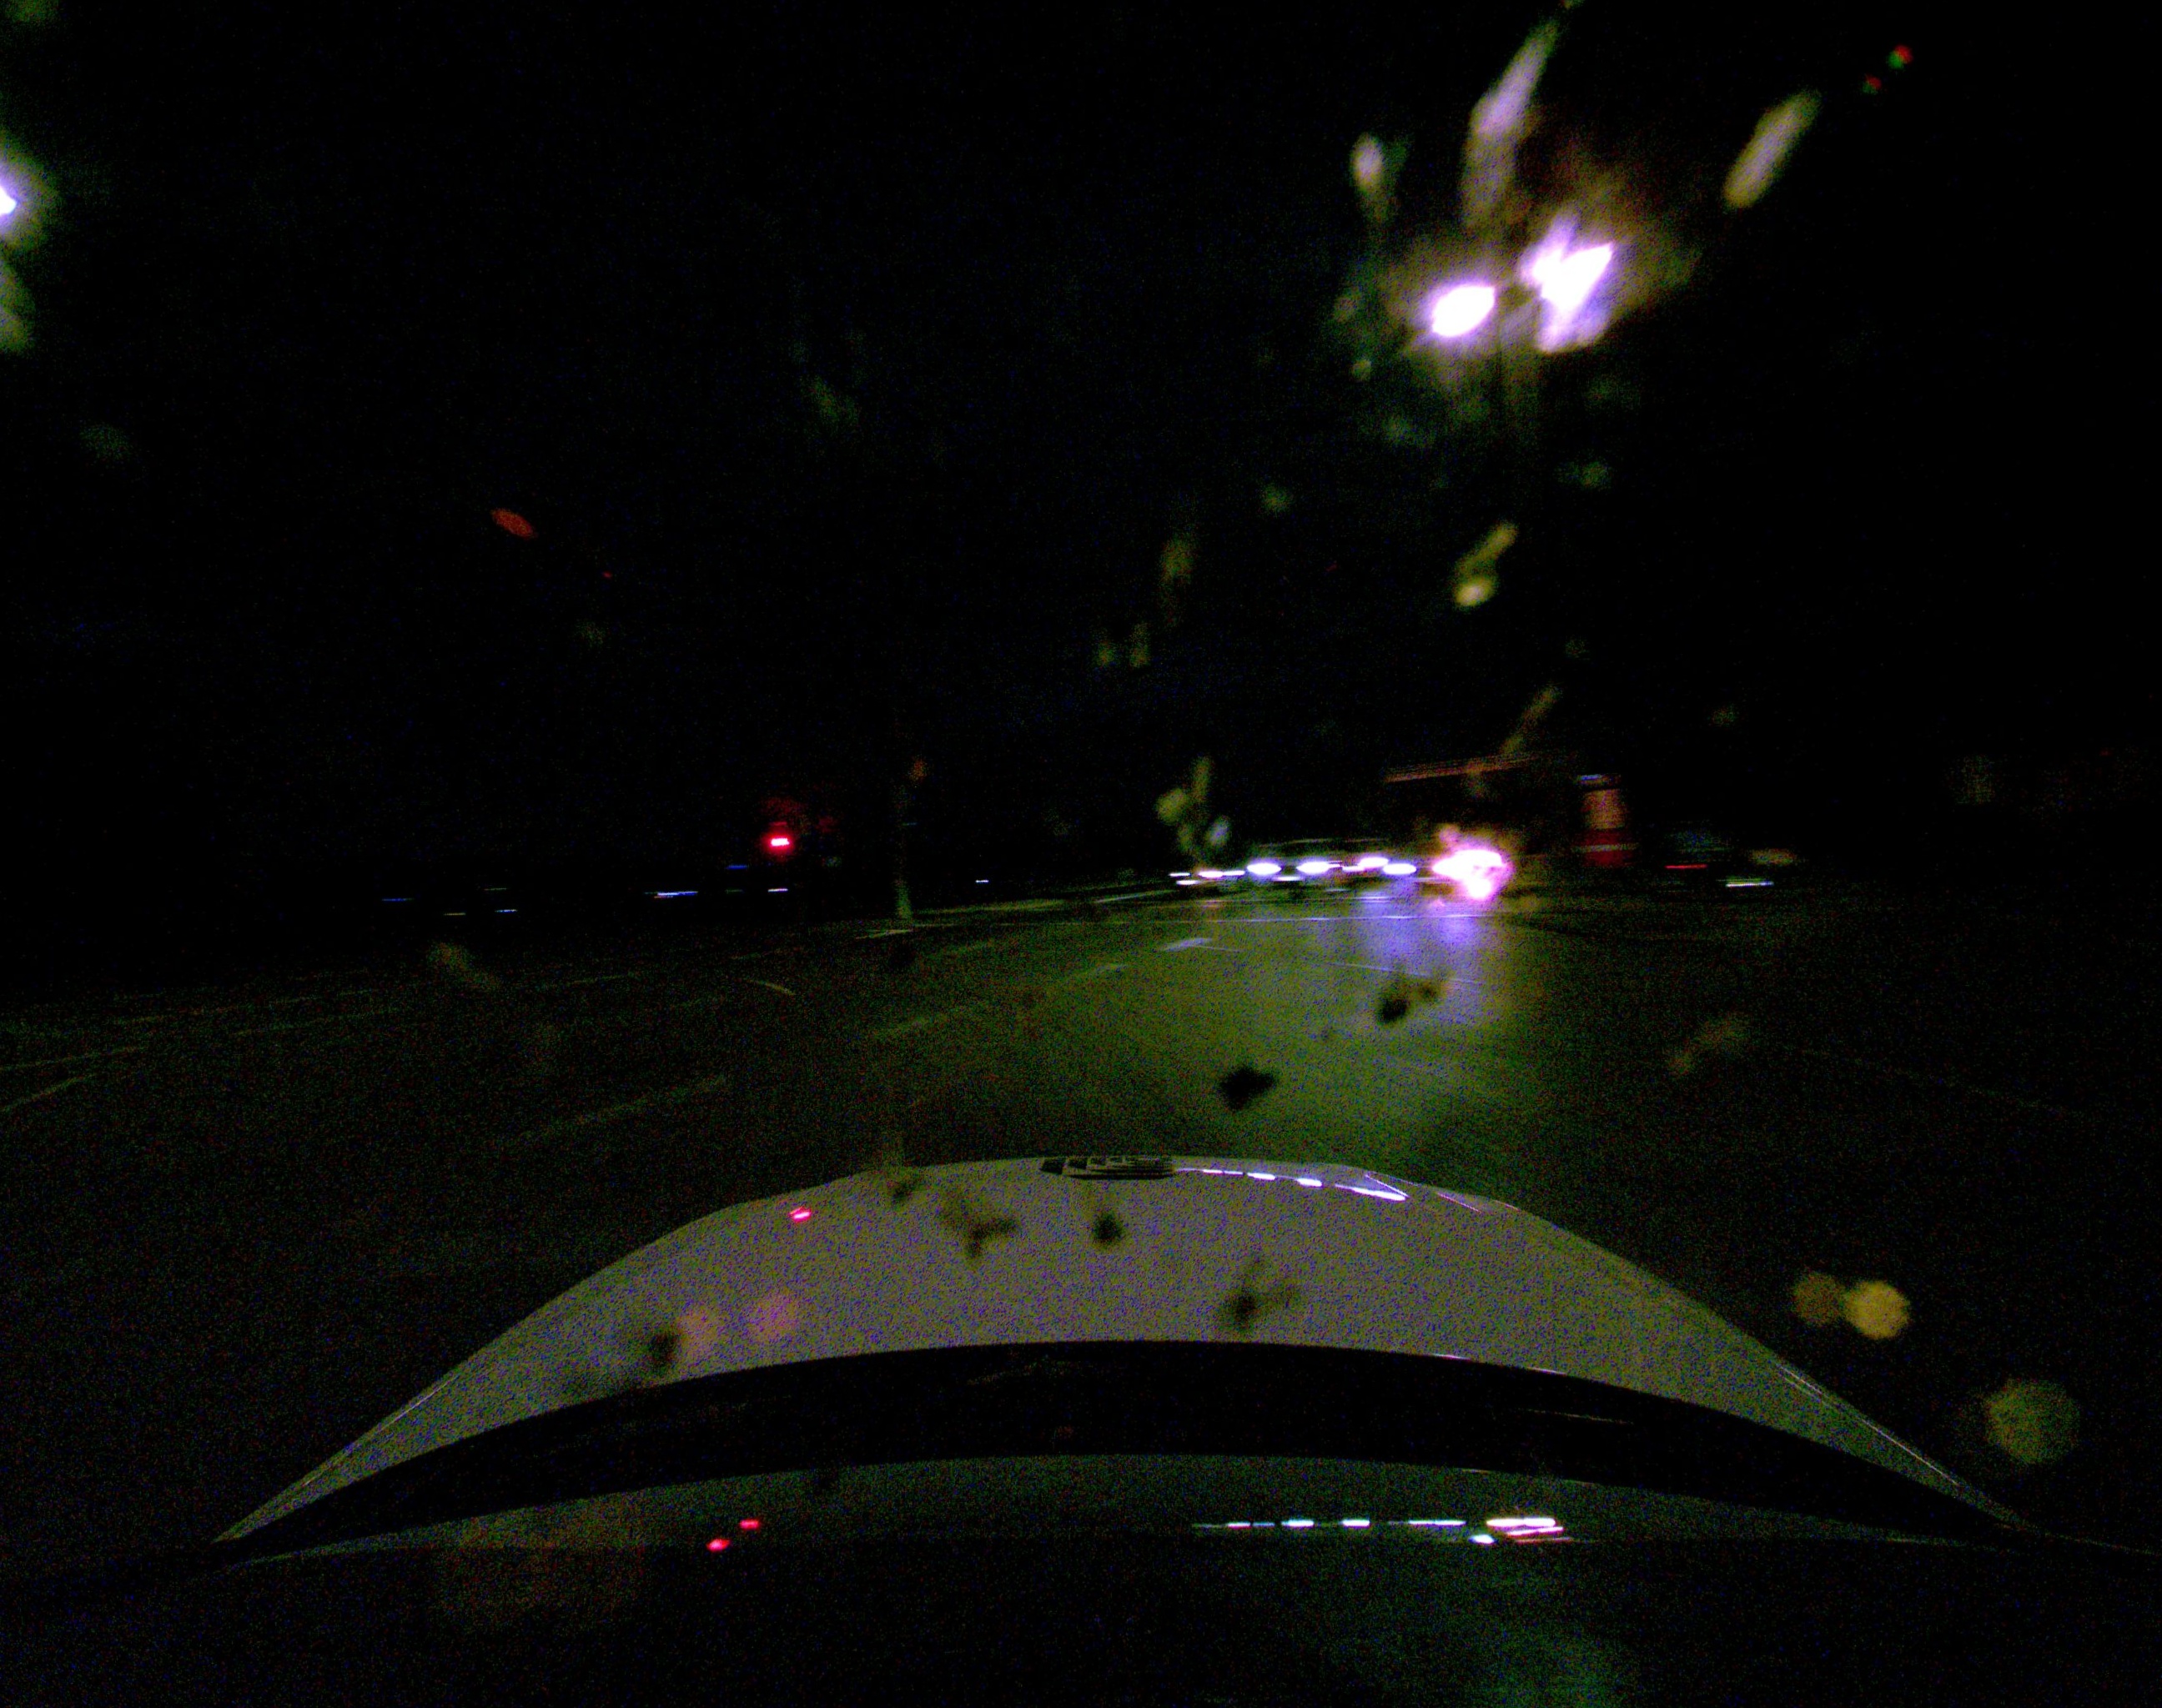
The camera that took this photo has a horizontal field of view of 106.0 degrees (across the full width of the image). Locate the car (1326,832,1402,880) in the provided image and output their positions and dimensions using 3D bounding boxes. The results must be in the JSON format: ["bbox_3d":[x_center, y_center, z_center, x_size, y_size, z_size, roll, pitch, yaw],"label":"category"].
[{"bbox_3d":[10.886,0.036,31.131,1.728,1.626,4.391,-3,1,32],"label":"car"}]

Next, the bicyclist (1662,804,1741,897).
[{"bbox_3d":[11.523,-0.060,15.157,0.987,1.651,0.607,-3,-1,26],"label":"bicyclist"}]

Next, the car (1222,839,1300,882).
[{"bbox_3d":[7.411,0.229,33.285,1.814,1.524,4.026,-4,0,32],"label":"car"}]

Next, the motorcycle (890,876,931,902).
[{"bbox_3d":[-7.687,1.563,36.799,1.586,1.033,0.714,-1,-7,-43],"label":"motorcycle"}]

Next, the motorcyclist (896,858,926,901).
[{"bbox_3d":[-7.697,1.156,36.860,0.875,1.809,0.905,-1,-7,-43],"label":"motorcyclist"}]

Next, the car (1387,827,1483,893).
[{"bbox_3d":[10.253,0.115,23.388,1.834,1.633,4.615,-3,0,32],"label":"car"}]

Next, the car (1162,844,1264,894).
[{"bbox_3d":[4.578,0.480,27.706,1.763,1.445,4.319,-3,1,33],"label":"car"}]

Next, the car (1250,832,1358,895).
[{"bbox_3d":[6.894,0.243,24.883,1.890,1.682,4.449,-3,0,32],"label":"car"}]

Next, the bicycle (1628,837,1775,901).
[{"bbox_3d":[11.552,0.290,15.252,2.042,1.101,0.699,-3,0,26],"label":"bicycle"}]

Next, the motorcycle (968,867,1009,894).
[{"bbox_3d":[-4.562,1.298,40.289,0.839,1.181,1.833,-9,-5,41],"label":"motorcycle"}]

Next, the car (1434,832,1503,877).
[{"bbox_3d":[14.300,-0.030,29.933,1.756,1.481,3.935,-2,0,33],"label":"car"}]

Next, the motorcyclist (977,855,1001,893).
[{"bbox_3d":[-4.559,0.984,40.318,0.675,1.759,0.795,-9,-5,41],"label":"motorcyclist"}]
